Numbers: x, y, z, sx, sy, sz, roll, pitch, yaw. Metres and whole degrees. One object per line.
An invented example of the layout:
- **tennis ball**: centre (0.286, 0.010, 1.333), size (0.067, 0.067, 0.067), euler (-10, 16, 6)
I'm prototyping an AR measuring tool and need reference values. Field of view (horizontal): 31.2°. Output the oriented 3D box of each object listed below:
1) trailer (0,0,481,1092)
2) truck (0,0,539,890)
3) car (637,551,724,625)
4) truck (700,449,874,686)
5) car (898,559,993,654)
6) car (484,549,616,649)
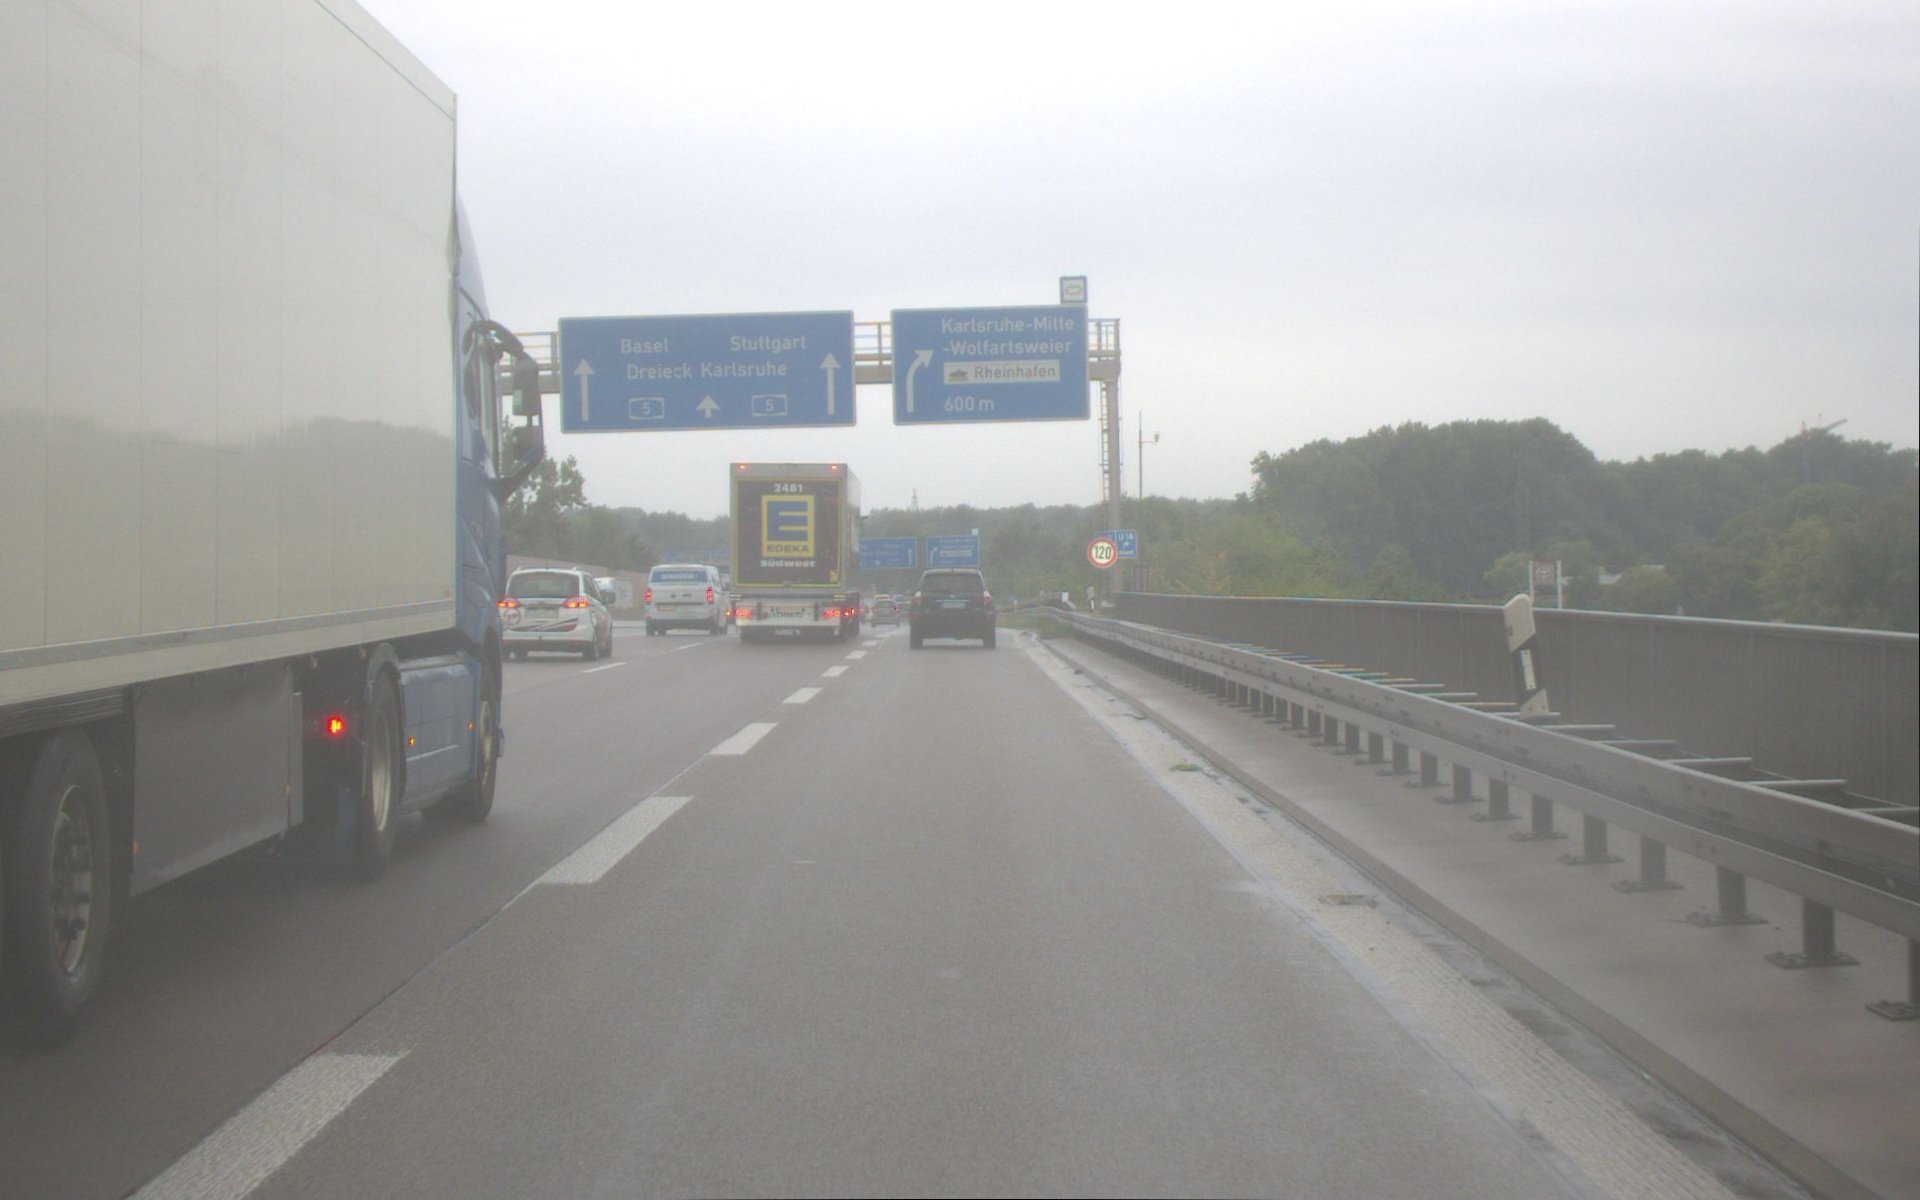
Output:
- **trailer**: centre (-3.856, -0.717, 11.779), size (2.342, 4.143, 14.827), euler (1, 0, 0)
- **truck**: centre (-3.866, -0.813, 18.625), size (2.342, 4.143, 6.346), euler (1, 0, 0)
- **car**: centre (-7.666, -0.309, 94.699), size (2.049, 1.943, 4.000), euler (1, 0, 0)
- **truck**: centre (-3.943, -0.679, 80.820), size (3.534, 5.166, 9.892), euler (1, 0, 0)
- **car**: centre (-0.286, 0.152, 73.734), size (1.897, 1.943, 4.000), euler (1, 0, 1)
- **car**: centre (-7.380, -0.004, 62.162), size (1.894, 1.718, 4.000), euler (1, 0, 0)
